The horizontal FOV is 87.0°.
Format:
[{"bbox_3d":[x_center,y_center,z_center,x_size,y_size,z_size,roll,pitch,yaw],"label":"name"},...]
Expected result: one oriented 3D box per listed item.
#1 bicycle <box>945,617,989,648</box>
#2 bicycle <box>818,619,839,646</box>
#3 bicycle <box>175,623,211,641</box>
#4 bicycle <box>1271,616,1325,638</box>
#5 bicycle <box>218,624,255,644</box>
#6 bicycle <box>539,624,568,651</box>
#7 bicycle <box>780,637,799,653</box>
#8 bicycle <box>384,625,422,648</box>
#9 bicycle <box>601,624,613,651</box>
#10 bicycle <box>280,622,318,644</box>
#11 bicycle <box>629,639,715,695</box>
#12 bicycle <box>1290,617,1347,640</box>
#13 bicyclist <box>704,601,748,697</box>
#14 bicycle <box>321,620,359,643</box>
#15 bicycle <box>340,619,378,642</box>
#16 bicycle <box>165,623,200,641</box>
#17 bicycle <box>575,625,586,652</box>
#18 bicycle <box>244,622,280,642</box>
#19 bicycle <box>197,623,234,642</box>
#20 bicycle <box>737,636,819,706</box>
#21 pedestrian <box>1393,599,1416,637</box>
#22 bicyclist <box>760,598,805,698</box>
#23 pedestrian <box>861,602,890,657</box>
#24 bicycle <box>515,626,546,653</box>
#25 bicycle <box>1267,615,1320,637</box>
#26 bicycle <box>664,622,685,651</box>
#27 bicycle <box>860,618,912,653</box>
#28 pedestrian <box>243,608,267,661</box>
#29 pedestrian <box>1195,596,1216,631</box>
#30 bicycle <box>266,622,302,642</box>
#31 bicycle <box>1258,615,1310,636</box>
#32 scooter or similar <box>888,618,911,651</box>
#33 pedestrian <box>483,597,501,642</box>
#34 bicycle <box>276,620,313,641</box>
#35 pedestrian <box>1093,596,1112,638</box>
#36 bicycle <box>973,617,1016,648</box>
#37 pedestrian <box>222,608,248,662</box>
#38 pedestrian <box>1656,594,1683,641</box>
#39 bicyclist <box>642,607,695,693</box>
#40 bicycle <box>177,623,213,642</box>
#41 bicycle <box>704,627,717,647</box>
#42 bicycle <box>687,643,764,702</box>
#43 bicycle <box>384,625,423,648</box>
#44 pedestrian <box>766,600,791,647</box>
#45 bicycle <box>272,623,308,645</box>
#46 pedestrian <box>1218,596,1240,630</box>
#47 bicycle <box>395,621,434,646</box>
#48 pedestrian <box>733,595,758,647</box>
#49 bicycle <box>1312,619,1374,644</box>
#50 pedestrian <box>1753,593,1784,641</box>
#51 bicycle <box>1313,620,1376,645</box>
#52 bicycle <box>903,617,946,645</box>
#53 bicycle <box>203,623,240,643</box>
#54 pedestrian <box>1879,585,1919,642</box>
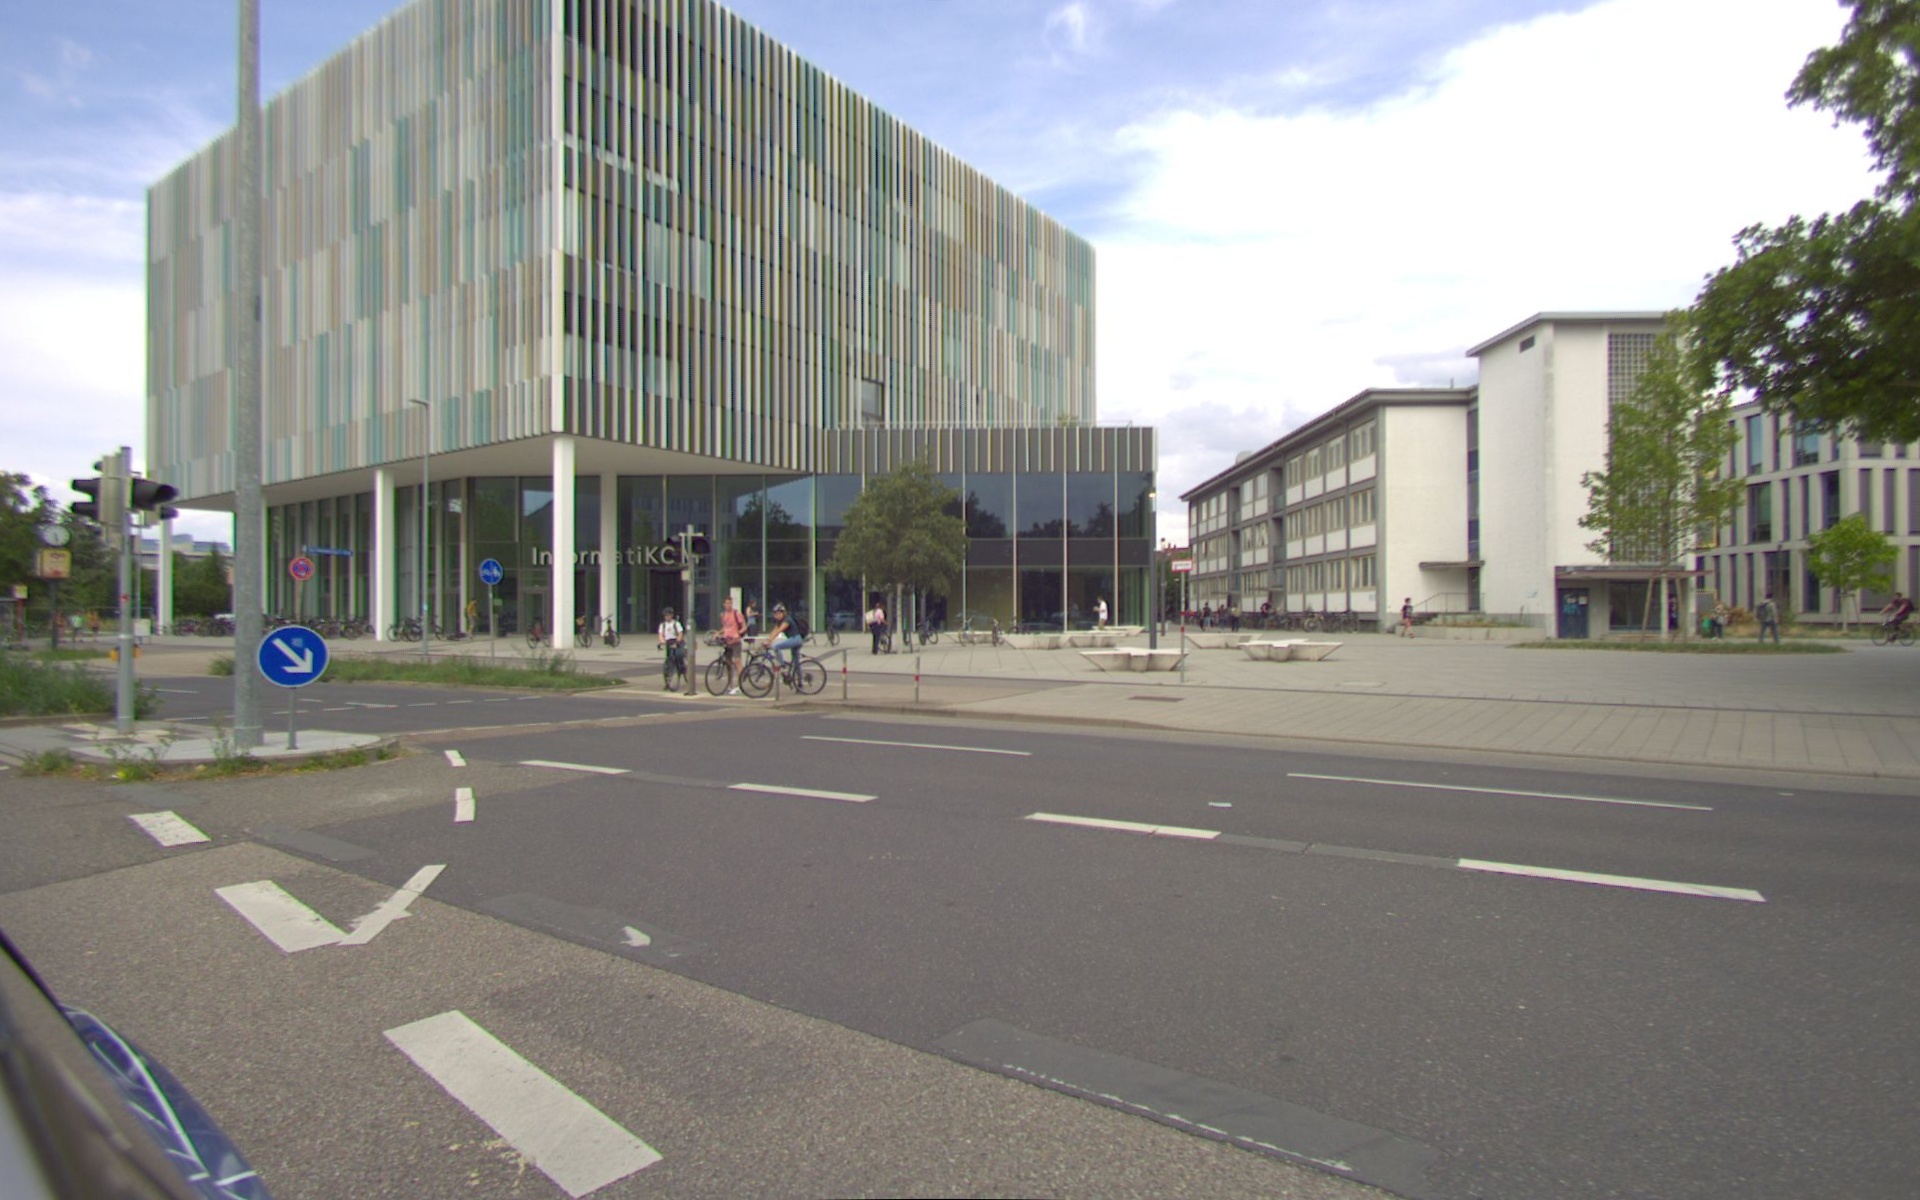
[{"bbox_3d":[0.283,1.214,38.554,0.791,1.097,2.664,-1,-1,20],"label":"bicycle"},{"bbox_3d":[-4.987,1.225,38.359,0.613,0.992,2.255,-1,-1,-12],"label":"bicycle"},{"bbox_3d":[-46.942,1.964,61.942,0.433,1.031,1.686,-1,1,30],"label":"bicycle"},{"bbox_3d":[18.186,1.447,54.516,2.637,1.142,0.745,-1,-1,2],"label":"bicycle"},{"bbox_3d":[-41.305,1.919,57.808,0.388,1.031,1.686,-1,1,30],"label":"bicycle"},{"bbox_3d":[-15.934,1.454,39.704,0.389,0.944,1.597,-2,1,2],"label":"bicycle"},{"bbox_3d":[-6.424,1.668,38.017,0.613,0.526,2.255,-1,-1,-12],"label":"bicycle"},{"bbox_3d":[-25.267,1.630,45.933,0.388,0.944,1.530,-1,1,30],"label":"bicycle"},{"bbox_3d":[-13.558,1.439,38.851,0.387,0.944,1.603,-2,1,-21],"label":"bicycle"},{"bbox_3d":[-33.483,1.684,51.276,0.388,1.031,1.566,-1,1,30],"label":"bicycle"},{"bbox_3d":[-5.875,1.342,20.726,0.724,0.996,1.809,-1,1,22],"label":"bicycle"},{"bbox_3d":[18.362,1.466,51.859,2.637,1.142,0.745,-1,-1,2],"label":"bicycle"},{"bbox_3d":[-4.521,0.932,19.551,0.558,1.820,0.597,-1,1,22],"label":"bicyclist"},{"bbox_3d":[-30.786,1.571,50.263,0.388,1.031,1.566,-1,1,30],"label":"bicycle"},{"bbox_3d":[-29.054,1.478,48.913,0.388,1.031,1.566,-1,1,30],"label":"bicycle"},{"bbox_3d":[-48.189,1.980,62.740,0.433,1.031,1.686,-1,1,30],"label":"bicycle"},{"bbox_3d":[-14.510,1.462,38.686,0.387,0.944,1.603,-2,1,-21],"label":"bicycle"},{"bbox_3d":[-37.426,1.709,54.264,0.388,1.031,1.566,-1,1,30],"label":"bicycle"},{"bbox_3d":[-43.463,1.885,59.071,0.433,1.031,1.686,-1,1,30],"label":"bicycle"},{"bbox_3d":[-3.343,1.280,18.756,0.602,1.179,1.882,-1,-1,21],"label":"bicycle"},{"bbox_3d":[18.528,0.740,42.154,0.588,1.560,0.659,0,-1,-12],"label":"pedestrian"},{"bbox_3d":[-3.295,0.877,18.824,0.558,1.820,0.597,-1,1,22],"label":"bicyclist"},{"bbox_3d":[-2.463,0.856,29.526,0.574,1.593,0.644,-1,-1,41],"label":"pedestrian"},{"bbox_3d":[-16.522,1.504,38.958,0.389,0.944,1.610,-2,1,2],"label":"bicycle"},{"bbox_3d":[18.340,1.433,55.747,2.637,1.142,0.745,-1,-1,2],"label":"bicycle"},{"bbox_3d":[-10.907,1.376,38.658,0.388,1.037,1.547,-2,1,-2],"label":"bicycle"},{"bbox_3d":[-2.246,1.068,30.525,1.747,1.006,0.434,-1,-1,39],"label":"bicycle"},{"bbox_3d":[-24.794,1.221,35.571,0.623,1.851,0.506,-2,-2,35],"label":"pedestrian"},{"bbox_3d":[13.855,0.775,57.127,0.962,1.945,1.070,-1,-1,2],"label":"pedestrian"},{"bbox_3d":[-35.591,1.715,53.289,0.388,1.031,1.565,-1,-3,30],"label":"bicycle"},{"bbox_3d":[18.284,1.424,57.138,2.637,1.142,0.745,-1,-1,2],"label":"bicycle"},{"bbox_3d":[-2.330,1.332,39.227,0.588,1.207,2.123,-1,-1,4],"label":"scooter or similar"},{"bbox_3d":[-22.016,0.920,47.624,0.623,2.059,0.506,-2,-2,34],"label":"pedestrian"},{"bbox_3d":[-34.671,1.583,52.756,0.388,1.031,1.566,-1,1,30],"label":"bicycle"},{"bbox_3d":[6.022,0.720,42.874,0.626,1.792,0.598,-1,-1,-9],"label":"pedestrian"},{"bbox_3d":[1.322,1.194,37.967,0.791,1.097,2.664,-1,-1,20],"label":"bicycle"},{"bbox_3d":[-24.994,1.214,34.906,0.771,1.851,0.506,-2,-2,35],"label":"pedestrian"},{"bbox_3d":[23.885,0.583,34.052,0.657,1.560,0.700,-1,-1,42],"label":"pedestrian"},{"bbox_3d":[-5.928,1.006,20.607,0.719,1.685,0.723,-1,1,22],"label":"bicyclist"},{"bbox_3d":[-46.331,1.958,61.289,0.433,1.031,1.686,-1,1,30],"label":"bicycle"},{"bbox_3d":[-9.660,1.425,39.187,0.387,0.678,1.801,-2,1,-17],"label":"bicycle"},{"bbox_3d":[-4.509,1.375,19.562,0.568,0.996,1.680,-1,1,22],"label":"bicycle"},{"bbox_3d":[-24.882,1.635,45.273,0.392,0.944,1.530,-1,1,30],"label":"bicycle"},{"bbox_3d":[-6.256,0.801,34.886,0.670,1.612,0.729,-1,-1,5],"label":"pedestrian"},{"bbox_3d":[-35.081,1.781,52.993,0.388,1.031,1.566,-1,1,30],"label":"bicycle"},{"bbox_3d":[15.285,0.745,57.583,0.962,1.945,1.070,-1,-1,2],"label":"pedestrian"},{"bbox_3d":[-24.188,1.474,44.897,0.398,1.002,1.530,-1,1,31],"label":"bicycle"},{"bbox_3d":[-7.338,0.723,34.661,0.669,1.753,0.730,-1,-1,2],"label":"pedestrian"},{"bbox_3d":[18.332,1.495,48.485,2.637,1.142,0.745,-1,-1,2],"label":"bicycle"},{"bbox_3d":[26.506,0.563,33.163,0.736,1.560,0.694,-1,-1,42],"label":"pedestrian"},{"bbox_3d":[17.949,1.512,47.294,2.637,1.142,0.745,-1,-1,2],"label":"bicycle"},{"bbox_3d":[-1.330,1.167,38.602,0.668,1.007,2.664,-1,-1,20],"label":"bicycle"},{"bbox_3d":[-42.763,1.898,58.588,0.433,1.031,1.686,-1,1,30],"label":"bicycle"},{"bbox_3d":[34.101,0.493,36.393,1.213,2.029,0.918,0,-1,-3],"label":"pedestrian"}]
